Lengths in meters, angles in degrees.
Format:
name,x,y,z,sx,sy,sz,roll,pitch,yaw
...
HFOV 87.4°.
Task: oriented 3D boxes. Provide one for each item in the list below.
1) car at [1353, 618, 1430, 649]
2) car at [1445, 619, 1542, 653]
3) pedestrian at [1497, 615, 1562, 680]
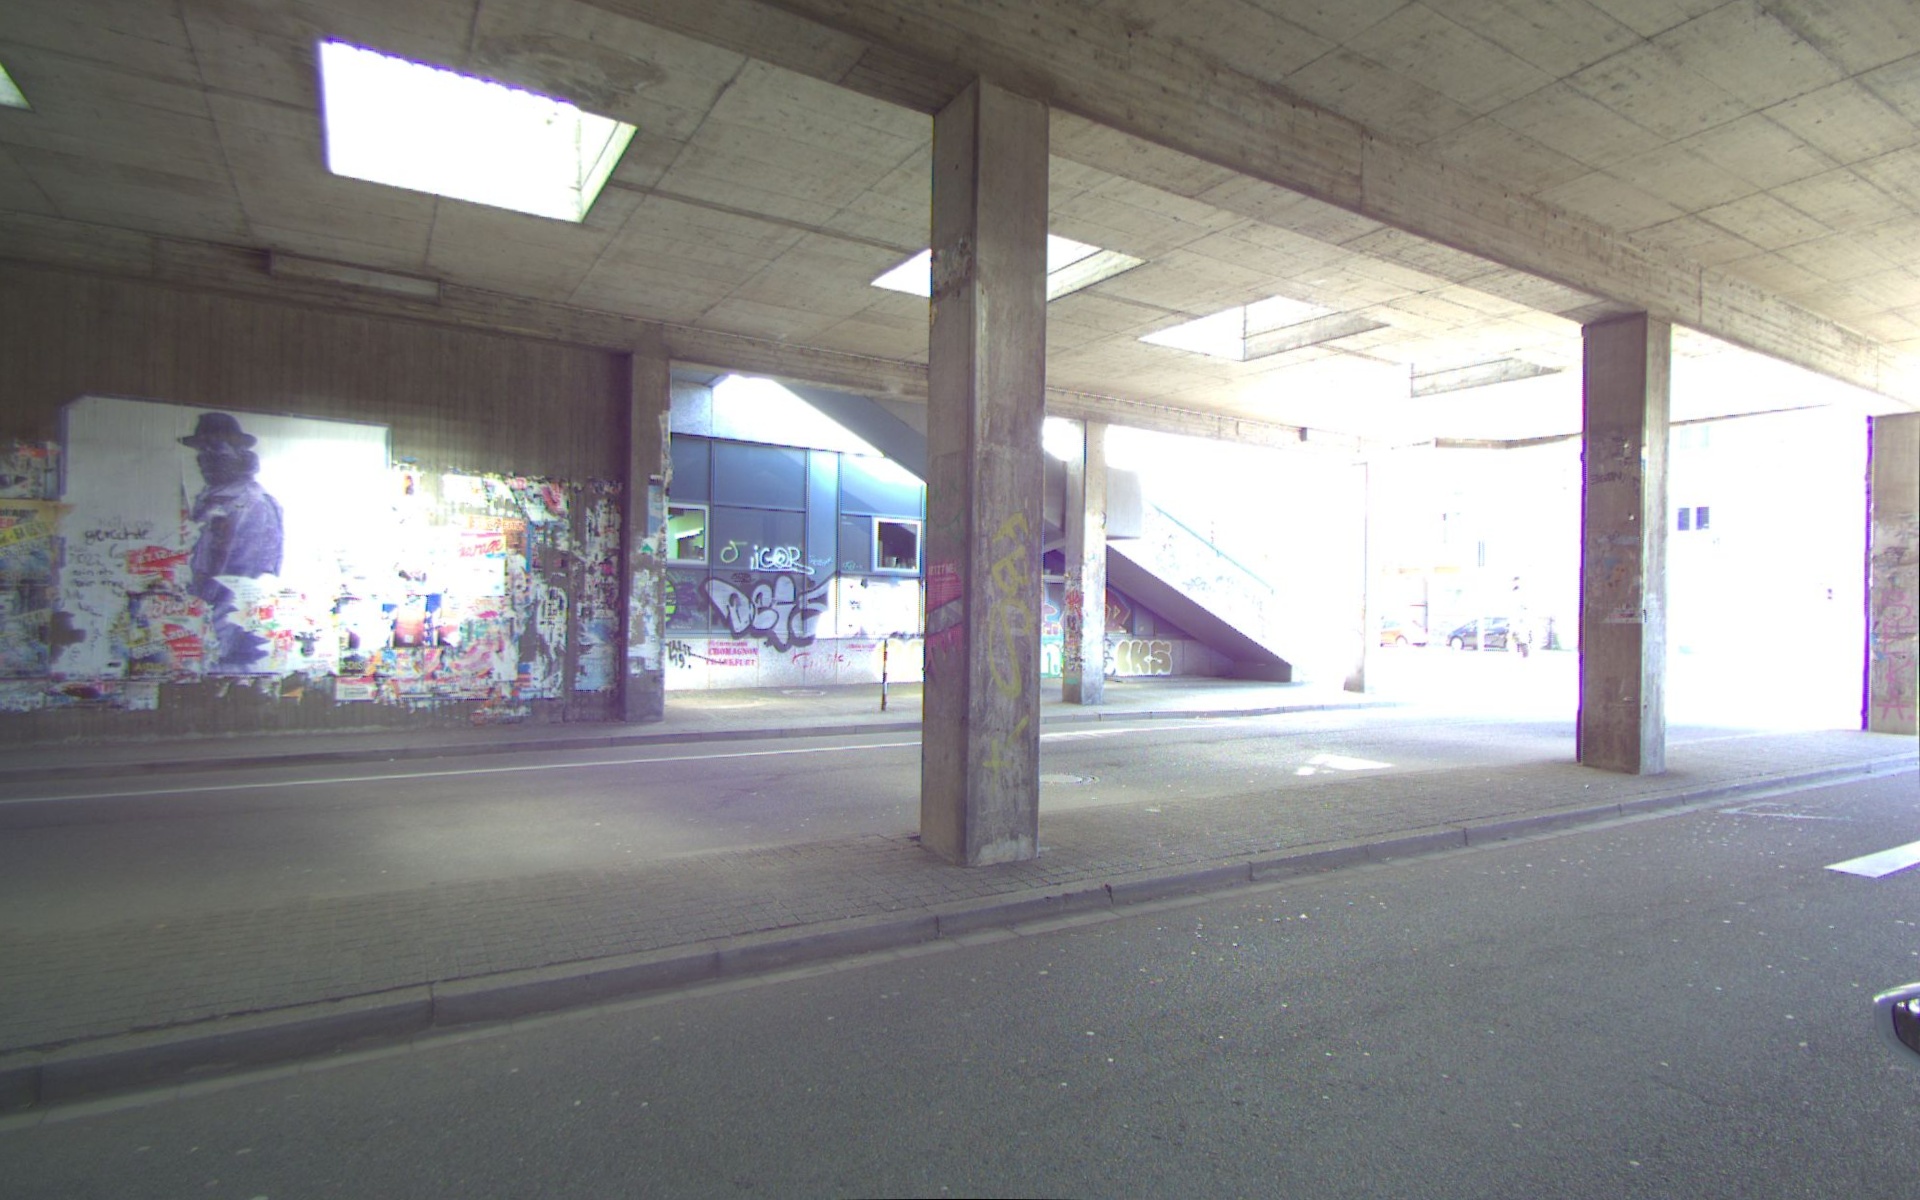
name,x,y,z,sx,sy,sz,roll,pitch,yaw
car,22.469,1.722,52.454,1.543,1.526,3.518,1,-1,-29
car,25.336,1.673,47.827,1.732,1.528,3.735,1,-1,-31
pedestrian,15.931,1.319,28.135,1.123,1.760,1.111,1,-1,-17
